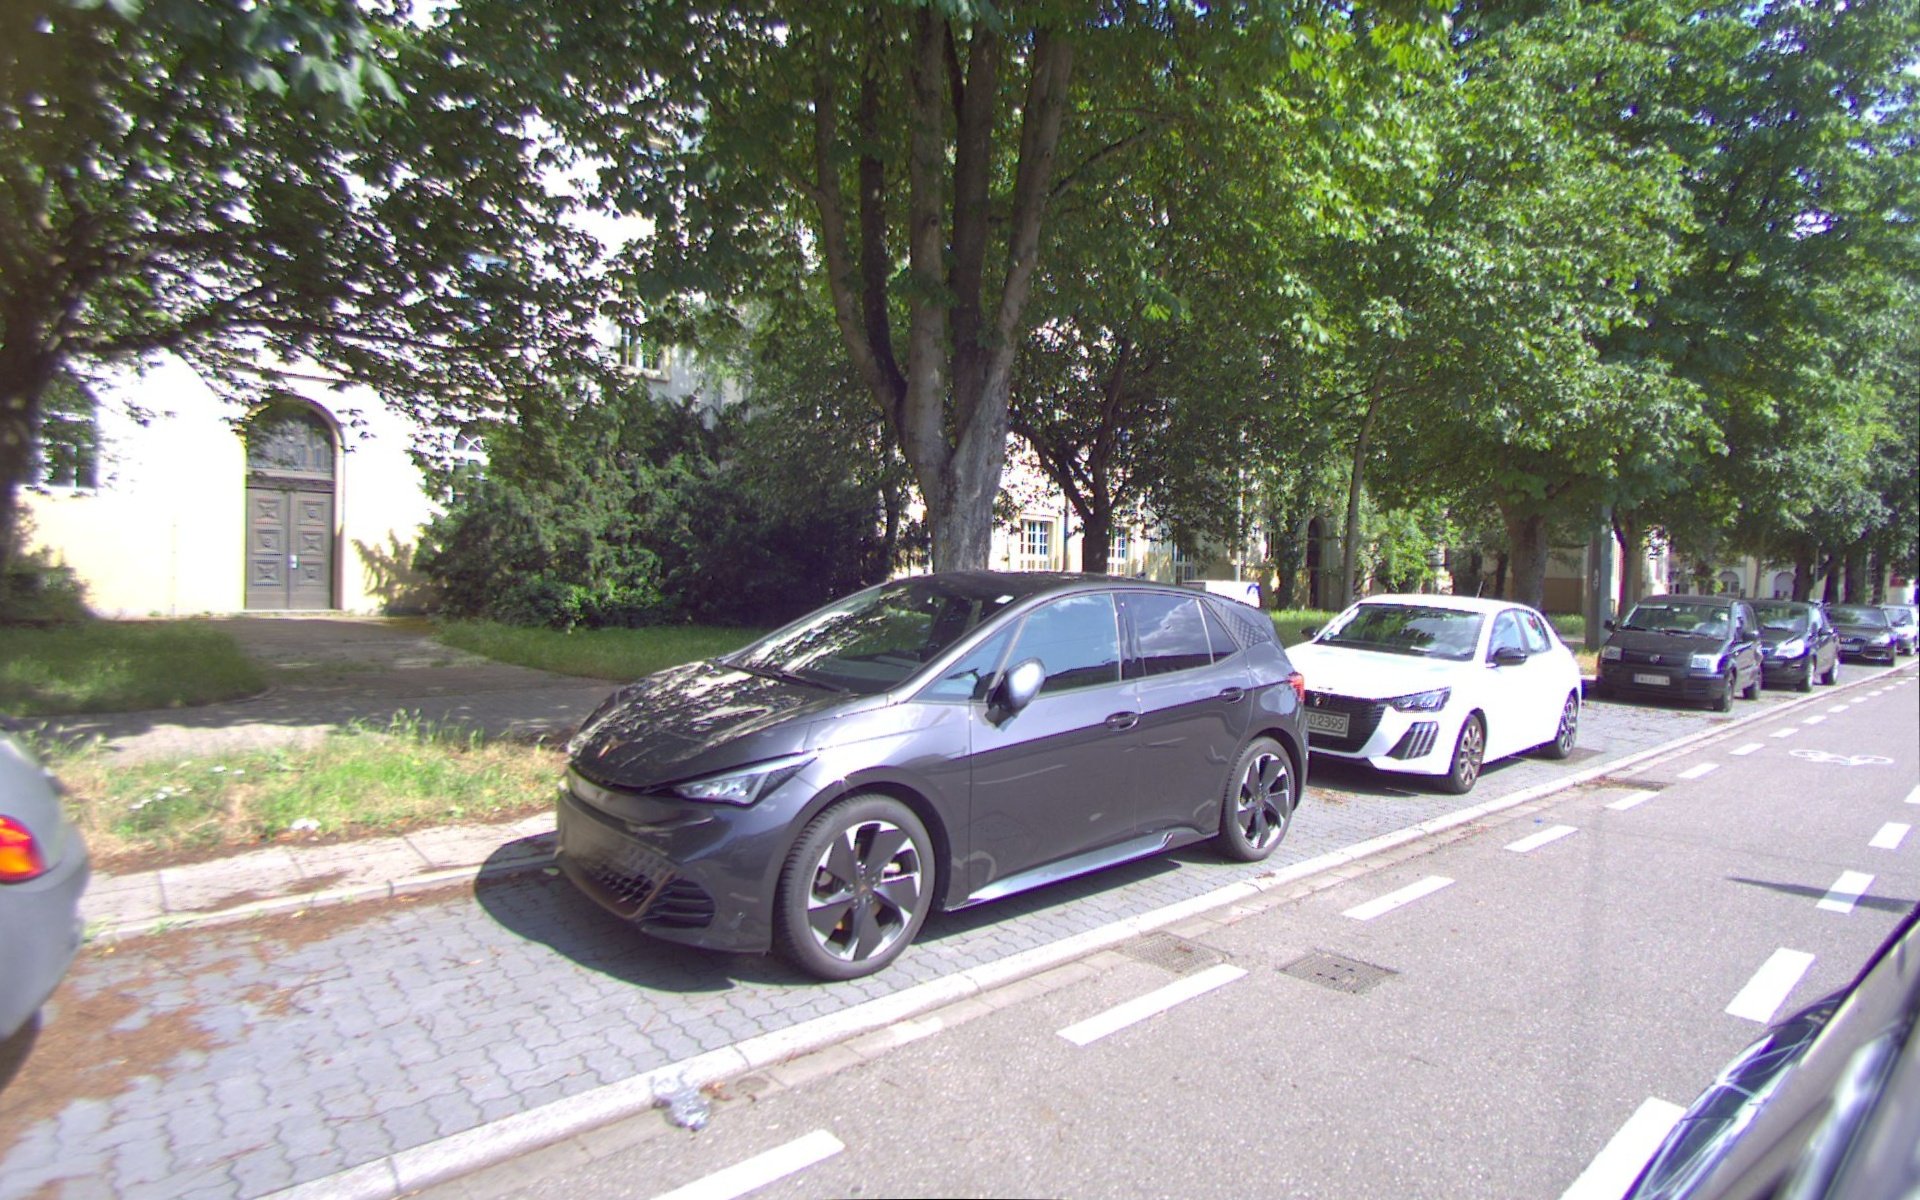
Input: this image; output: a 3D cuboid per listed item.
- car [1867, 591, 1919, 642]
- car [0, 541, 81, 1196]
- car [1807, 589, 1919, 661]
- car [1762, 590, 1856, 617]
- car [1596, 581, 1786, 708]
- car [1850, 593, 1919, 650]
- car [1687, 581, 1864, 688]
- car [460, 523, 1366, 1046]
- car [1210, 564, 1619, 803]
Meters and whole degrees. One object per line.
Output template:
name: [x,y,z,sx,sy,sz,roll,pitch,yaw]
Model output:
car: [31.144,0.535,32.911,4.962,1.458,1.833,0,4,-42]
car: [-3.912,0.593,1.800,3.535,1.462,1.594,0,4,-41]
car: [22.950,0.556,25.632,1.833,1.484,4.754,5,5,44]
car: [60.628,0.220,72.381,1.821,1.676,4.841,-1,2,-31]
car: [10.633,0.534,14.648,3.500,1.478,1.558,-1,6,-44]
car: [27.407,0.612,29.405,3.942,1.448,1.640,1,4,-39]
car: [14.530,0.529,17.946,4.233,1.580,1.694,0,5,-42]
car: [0.130,0.523,5.255,4.595,1.602,1.728,0,3,-41]
car: [4.188,0.532,8.975,4.183,1.542,1.837,0,4,-44]
